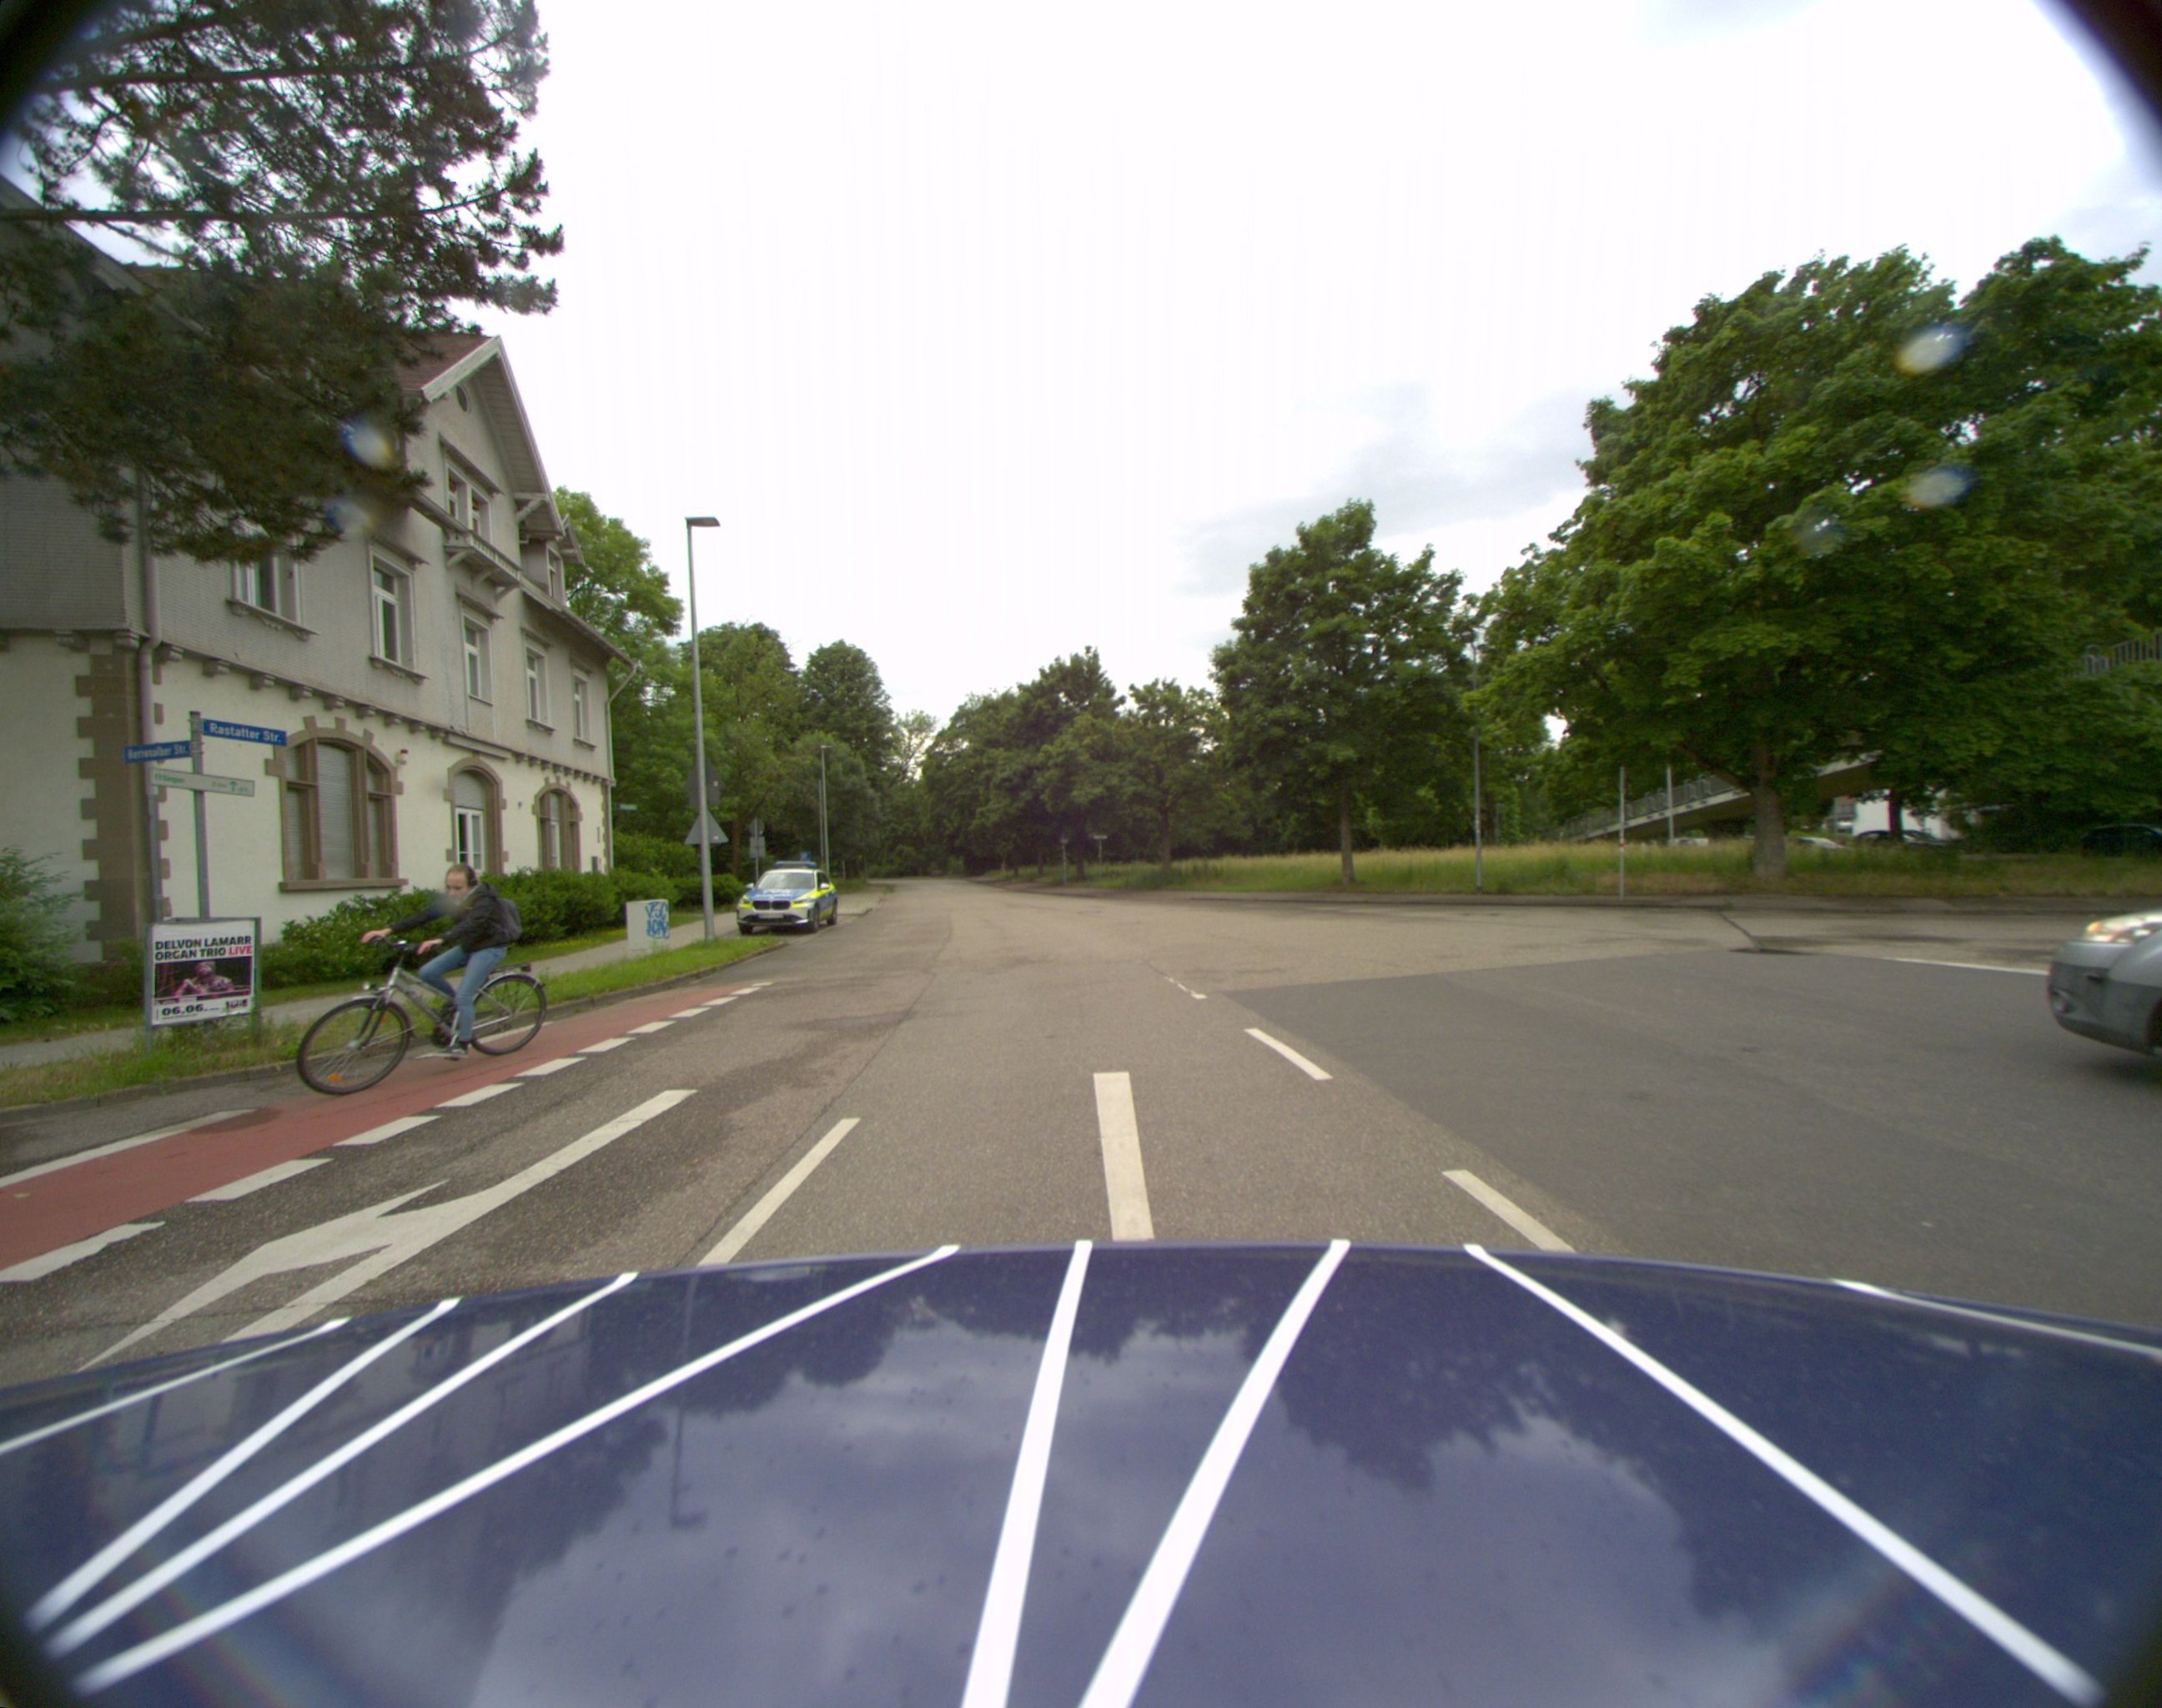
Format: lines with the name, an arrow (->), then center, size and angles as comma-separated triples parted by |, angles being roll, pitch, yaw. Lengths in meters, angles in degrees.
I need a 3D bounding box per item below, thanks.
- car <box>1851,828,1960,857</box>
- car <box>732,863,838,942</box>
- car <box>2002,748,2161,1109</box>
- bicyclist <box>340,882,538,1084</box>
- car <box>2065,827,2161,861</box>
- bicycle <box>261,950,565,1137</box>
car -> 41.819, -0.577, 38.690 | 1.692, 1.343, 4.003 | -2, 0, 11
car -> -7.621, 1.153, 19.930 | 1.937, 1.839, 3.996 | 0, 0, -12
car -> 6.839, 0.344, 2.583 | 2.095, 1.847, 4.217 | -3, 1, -12
bicyclist -> -5.142, 0.985, 6.162 | 0.623, 1.416, 0.961 | -6, 1, 0
car -> 40.398, -0.396, 28.712 | 1.692, 1.231, 4.003 | -2, 0, 11
bicycle -> -5.190, 1.408, 6.128 | 0.383, 0.975, 2.030 | -2, 1, 9
